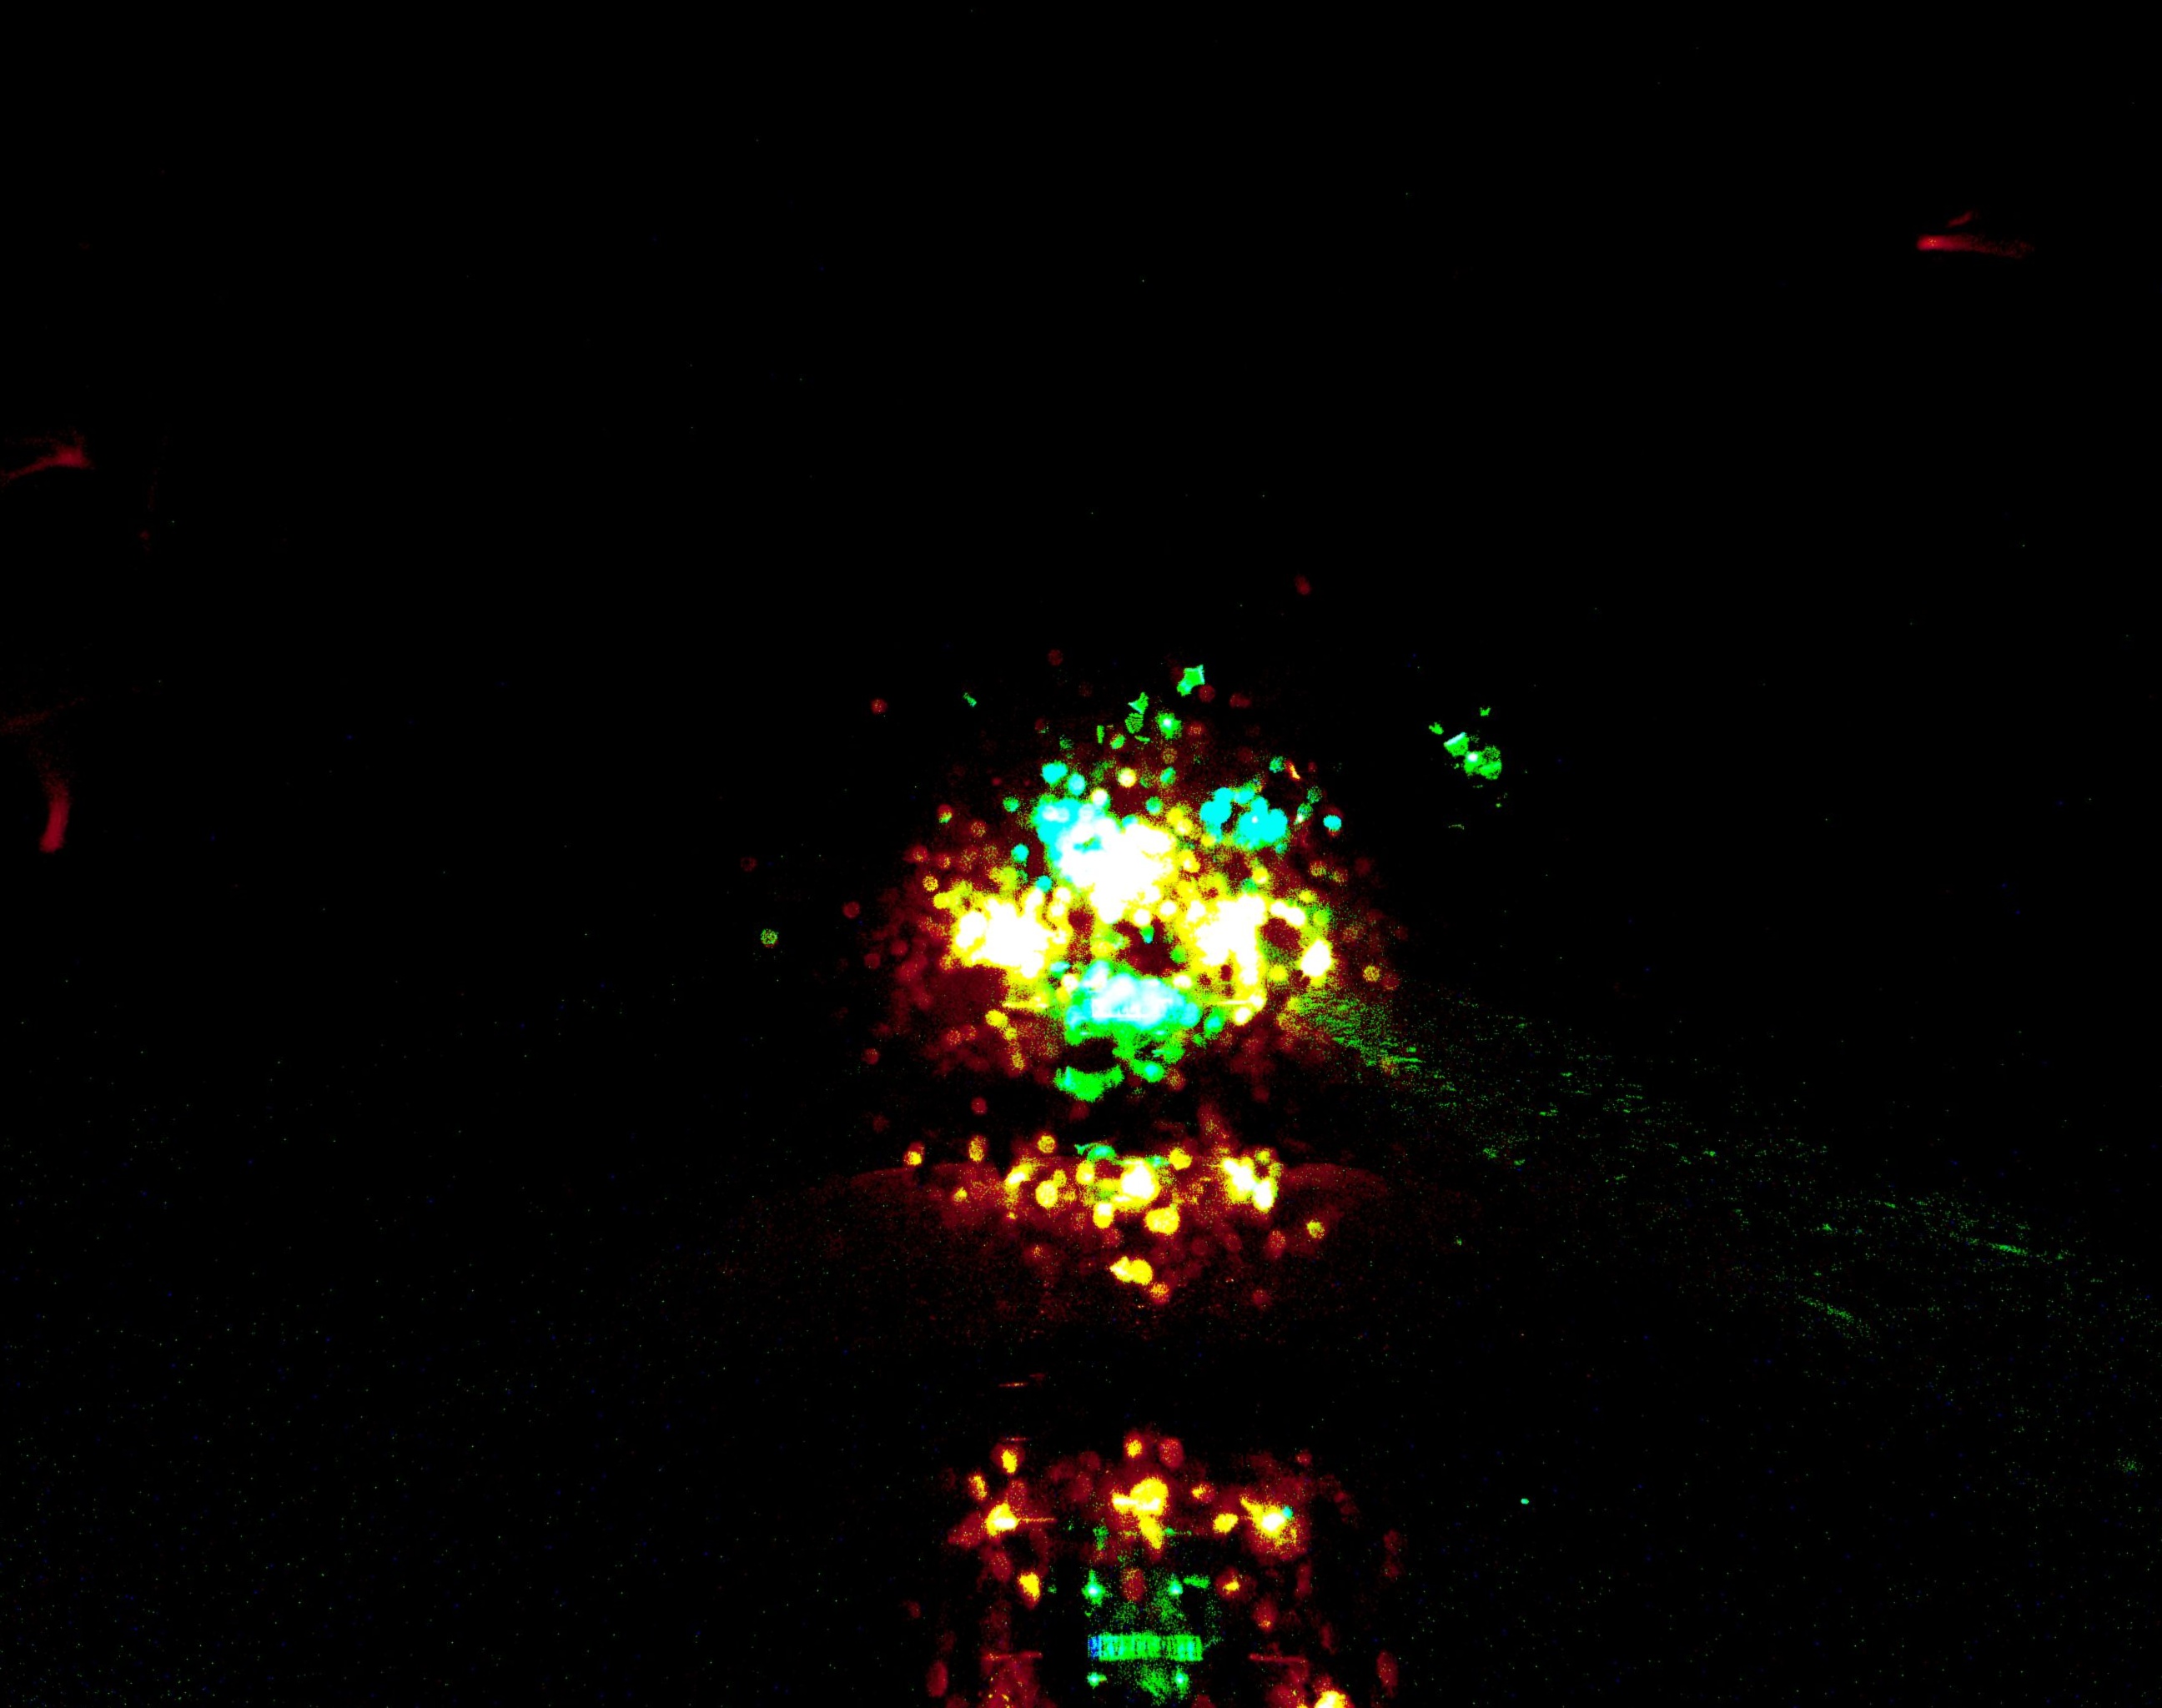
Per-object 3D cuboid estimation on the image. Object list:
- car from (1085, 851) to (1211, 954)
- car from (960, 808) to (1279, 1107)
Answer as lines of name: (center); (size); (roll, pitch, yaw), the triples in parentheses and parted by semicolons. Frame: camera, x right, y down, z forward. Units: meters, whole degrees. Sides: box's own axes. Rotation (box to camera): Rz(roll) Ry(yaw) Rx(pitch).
car: (1.128, 0.684, 13.537); (1.735, 1.415, 4.006); (-2, 0, 5)
car: (0.317, 0.582, 6.605); (1.783, 1.681, 3.907); (-1, 0, 3)
